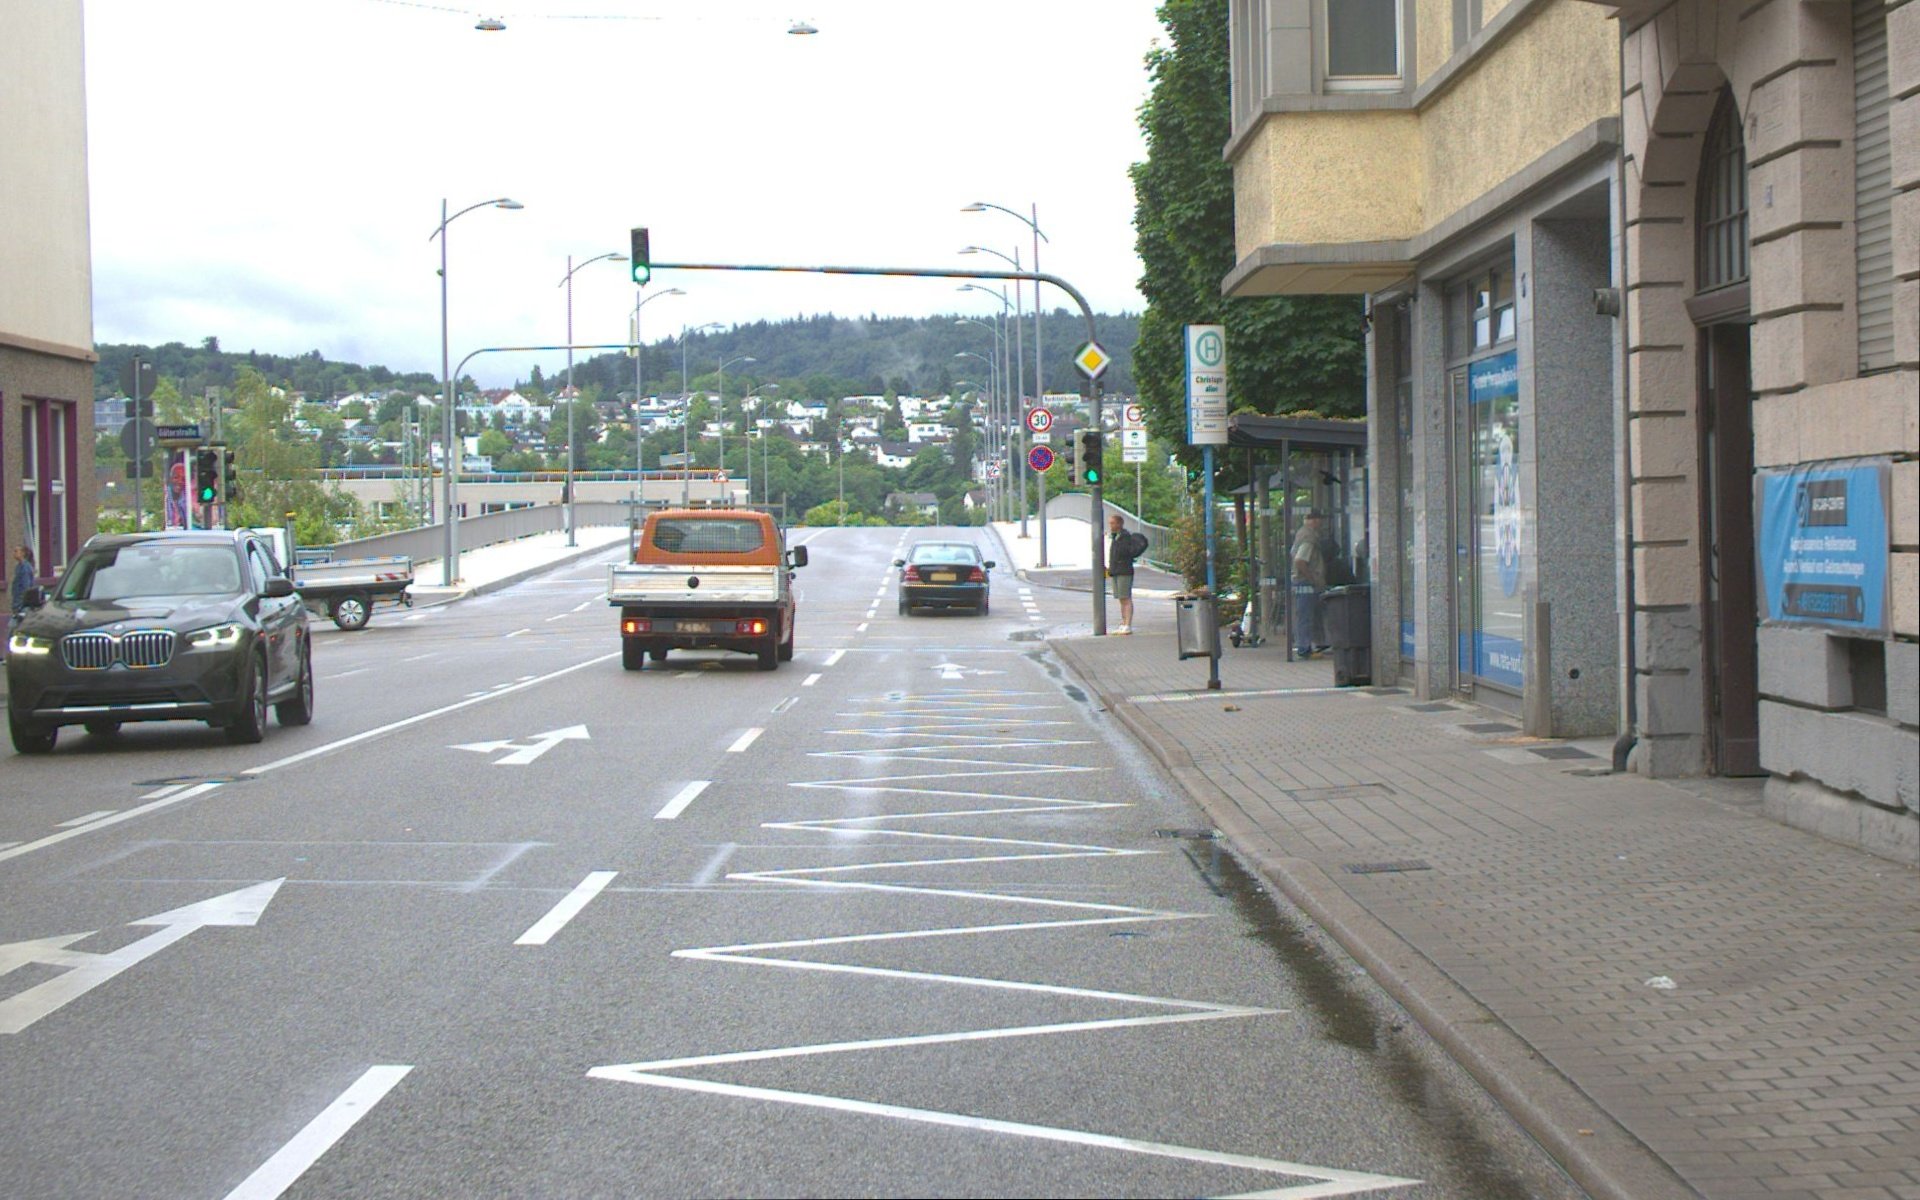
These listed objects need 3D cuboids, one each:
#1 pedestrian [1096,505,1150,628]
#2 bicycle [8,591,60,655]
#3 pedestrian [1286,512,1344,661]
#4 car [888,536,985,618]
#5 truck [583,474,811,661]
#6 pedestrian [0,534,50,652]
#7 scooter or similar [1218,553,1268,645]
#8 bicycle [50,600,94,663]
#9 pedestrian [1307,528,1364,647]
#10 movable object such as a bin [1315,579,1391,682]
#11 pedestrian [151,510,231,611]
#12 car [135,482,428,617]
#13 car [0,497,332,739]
[{"bbox_3d":[2.460,-0.501,51.987,0.733,1.835,0.631,-1,0,-1],"label":"pedestrian"},{"bbox_3d":[-11.800,0.285,43.820,0.264,0.780,1.422,-1,0,0],"label":"bicycle"},{"bbox_3d":[4.097,-0.156,39.717,0.619,1.693,0.656,-1,0,4],"label":"pedestrian"},{"bbox_3d":[-0.432,-0.442,65.731,1.754,1.474,4.000,-1,0,0],"label":"car"},{"bbox_3d":[-3.172,-0.402,42.598,2.400,2.122,5.315,-1,0,0],"label":"truck"},{"bbox_3d":[-12.437,-0.094,45.538,0.574,1.548,0.740,-1,0,-3],"label":"pedestrian"},{"bbox_3d":[3.665,-0.023,44.586,0.511,1.168,1.549,-1,0,0],"label":"scooter or similar"},{"bbox_3d":[-11.396,0.403,44.144,0.264,0.780,1.111,-1,0,0],"label":"bicycle"},{"bbox_3d":[4.470,-0.149,40.944,0.563,1.392,0.514,-1,0,-3],"label":"pedestrian"},{"bbox_3d":[3.630,0.277,31.783,0.600,0.923,0.704,-1,0,0],"label":"movable object such as a bin"},{"bbox_3d":[-15.452,-0.795,69.060,0.985,2.007,1.171,-1,0,41],"label":"pedestrian"},{"bbox_3d":[-12.451,-0.924,63.328,4.992,2.342,2.000,-1,0,-1],"label":"car"},{"bbox_3d":[-6.377,0.114,27.616,1.930,1.751,4.573,-1,0,-2],"label":"car"}]
